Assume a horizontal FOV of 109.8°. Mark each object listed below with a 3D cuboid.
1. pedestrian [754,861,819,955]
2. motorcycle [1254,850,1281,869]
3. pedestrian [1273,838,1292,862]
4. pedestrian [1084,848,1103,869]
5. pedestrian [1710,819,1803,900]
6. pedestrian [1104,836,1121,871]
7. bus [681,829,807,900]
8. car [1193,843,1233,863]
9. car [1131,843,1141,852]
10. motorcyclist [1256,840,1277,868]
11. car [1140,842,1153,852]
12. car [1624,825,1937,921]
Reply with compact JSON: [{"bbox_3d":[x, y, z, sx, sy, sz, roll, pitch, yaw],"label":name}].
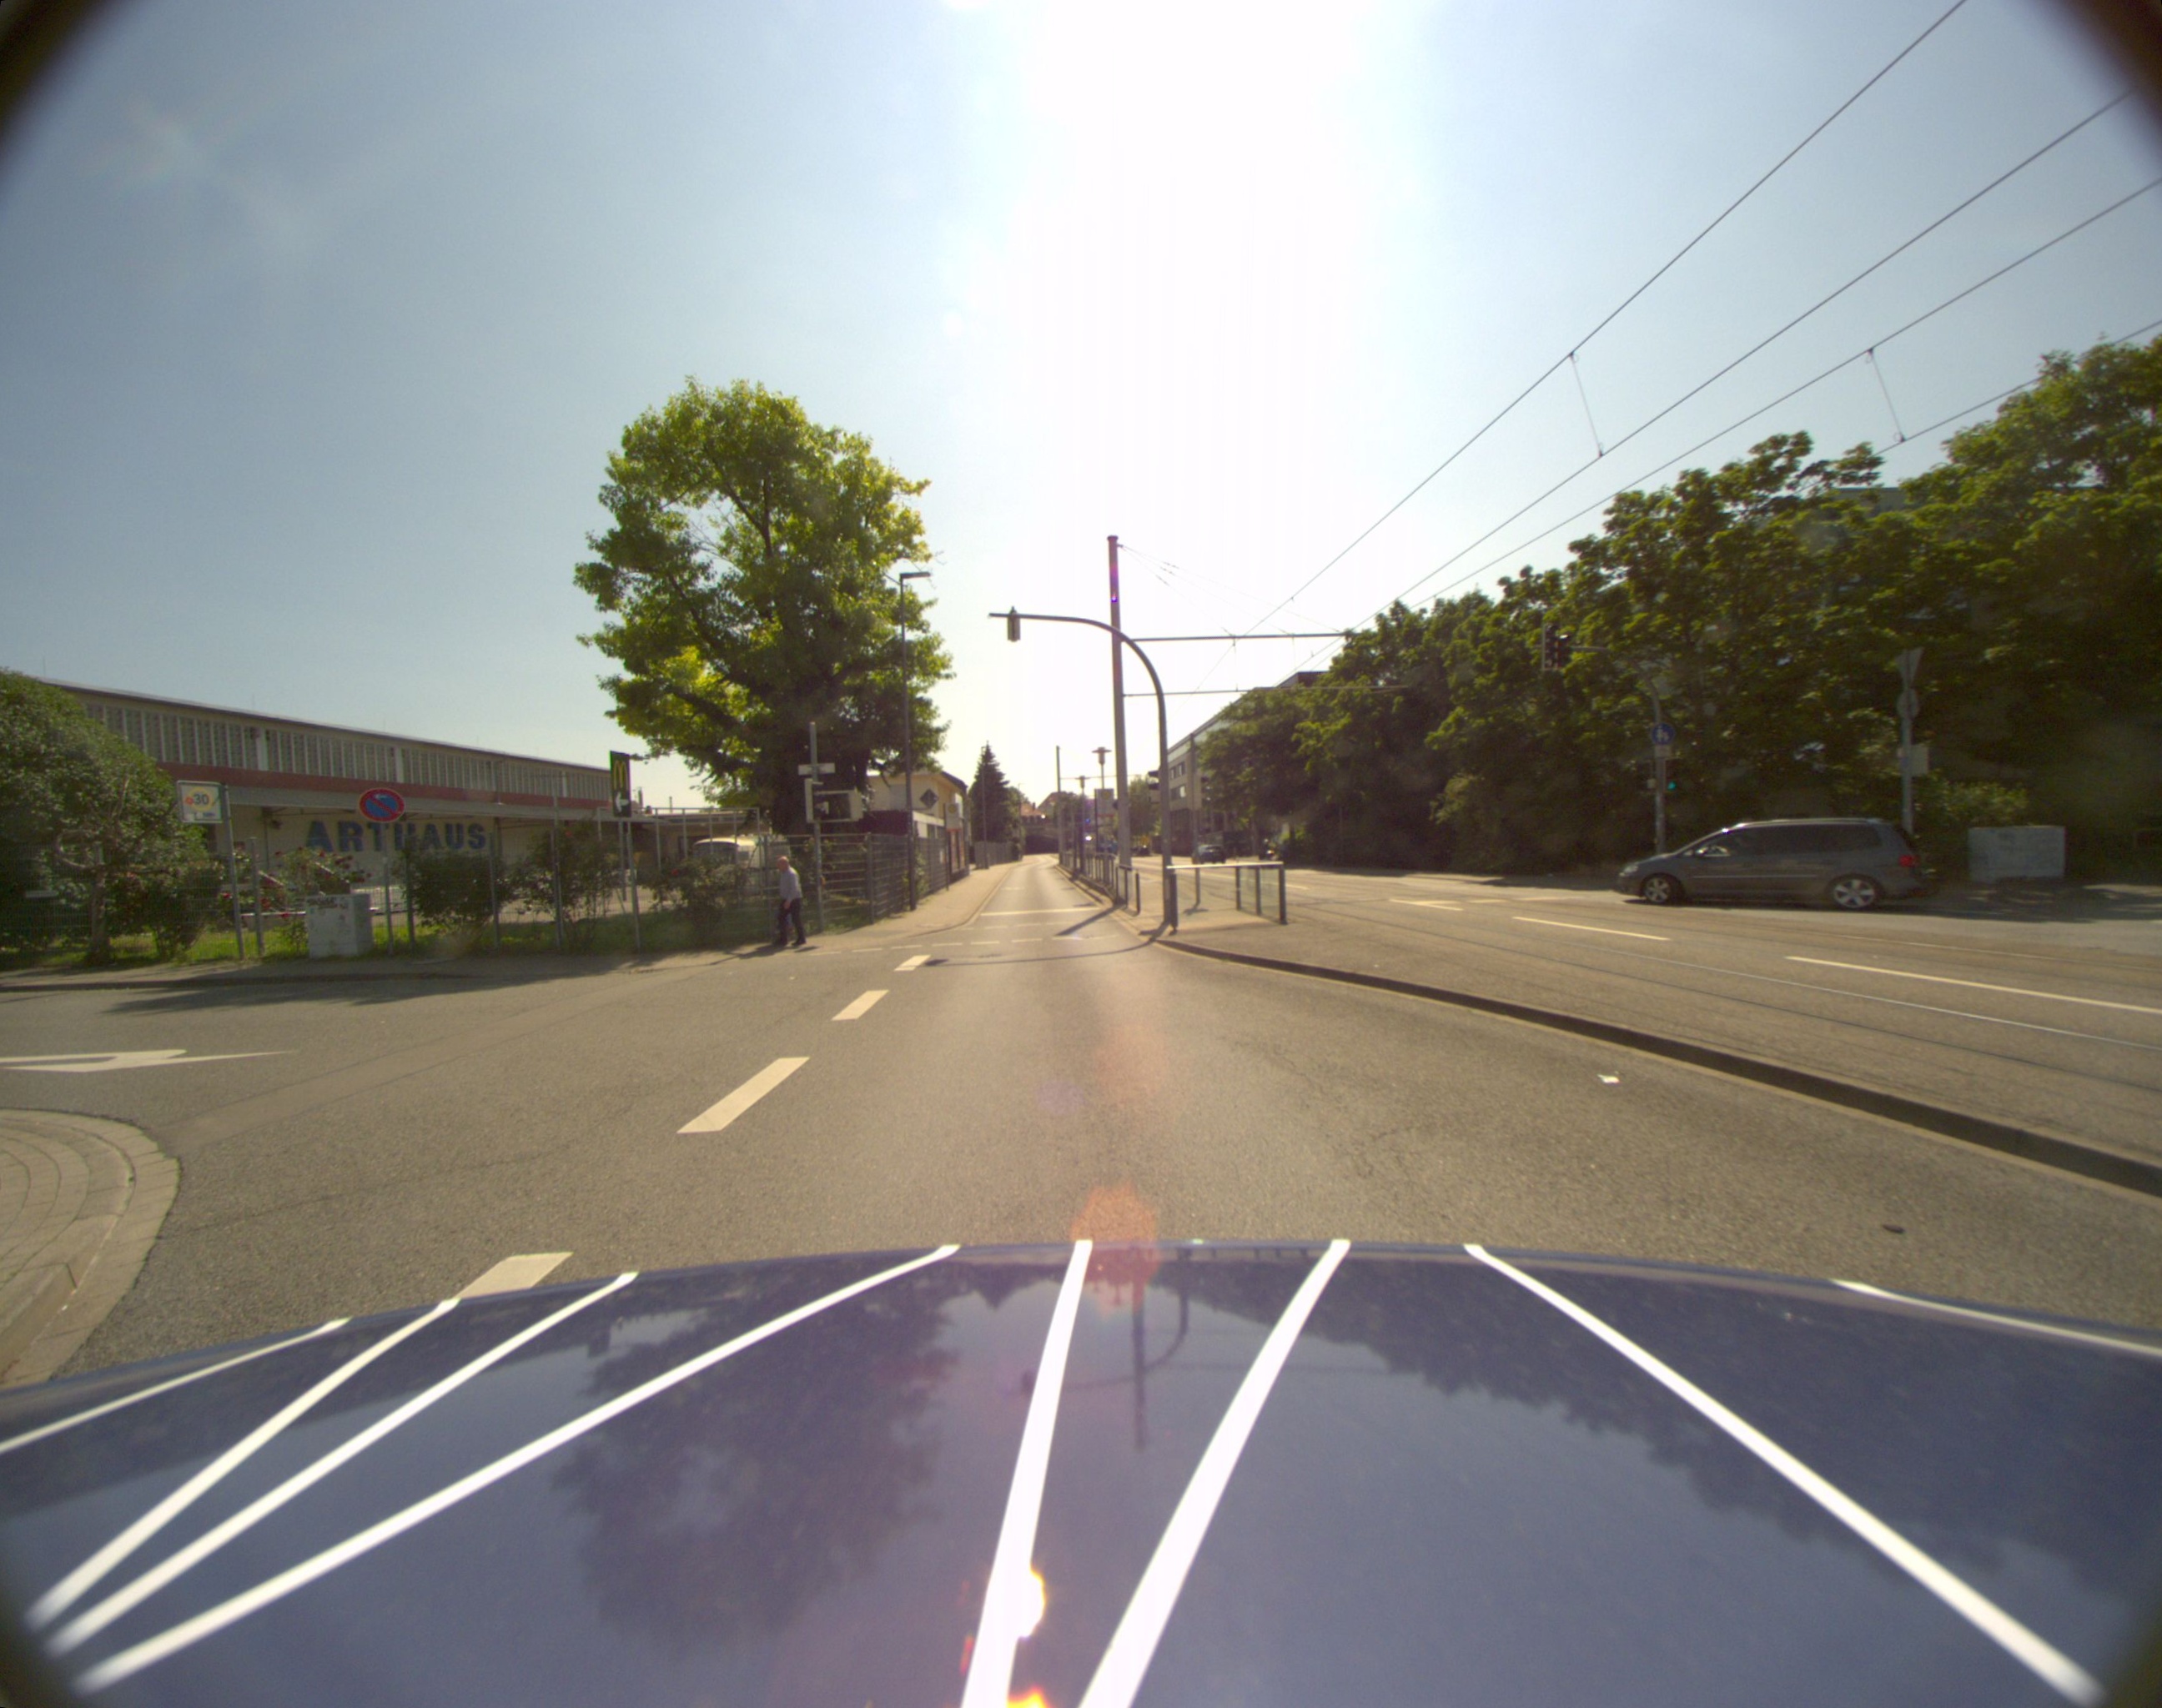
[{"bbox_3d":[-5.570,0.982,14.355,0.889,1.690,0.813,-2,2,-40],"label":"pedestrian"},{"bbox_3d":[10.237,0.299,41.725,0.825,1.005,1.963,-2,1,-4],"label":"motorcycle"},{"bbox_3d":[12.922,-0.261,48.721,0.873,1.518,0.845,-2,1,-4],"label":"pedestrian"},{"bbox_3d":[0.648,0.228,40.350,0.945,1.093,0.725,0,2,-4],"label":"pedestrian"},{"bbox_3d":[14.992,0.117,16.899,0.888,1.661,1.159,-6,2,-4],"label":"pedestrian"},{"bbox_3d":[1.591,-0.027,38.618,0.726,1.715,0.944,-3,1,-3],"label":"pedestrian"},{"bbox_3d":[-17.874,0.337,41.329,2.572,3.154,10.260,-2,3,-3],"label":"bus"},{"bbox_3d":[9.546,-0.101,55.321,1.912,1.434,4.593,0,1,-4],"label":"car"},{"bbox_3d":[9.756,-1.207,135.019,1.871,1.608,4.000,-1,1,4],"label":"car"},{"bbox_3d":[10.206,-0.018,41.885,0.838,1.467,0.962,-2,1,-5],"label":"motorcyclist"},{"bbox_3d":[10.947,-1.206,127.566,1.998,1.613,4.000,-1,1,4],"label":"car"},{"bbox_3d":[13.162,0.266,14.557,1.937,1.574,4.179,-2,2,-44],"label":"car"}]
